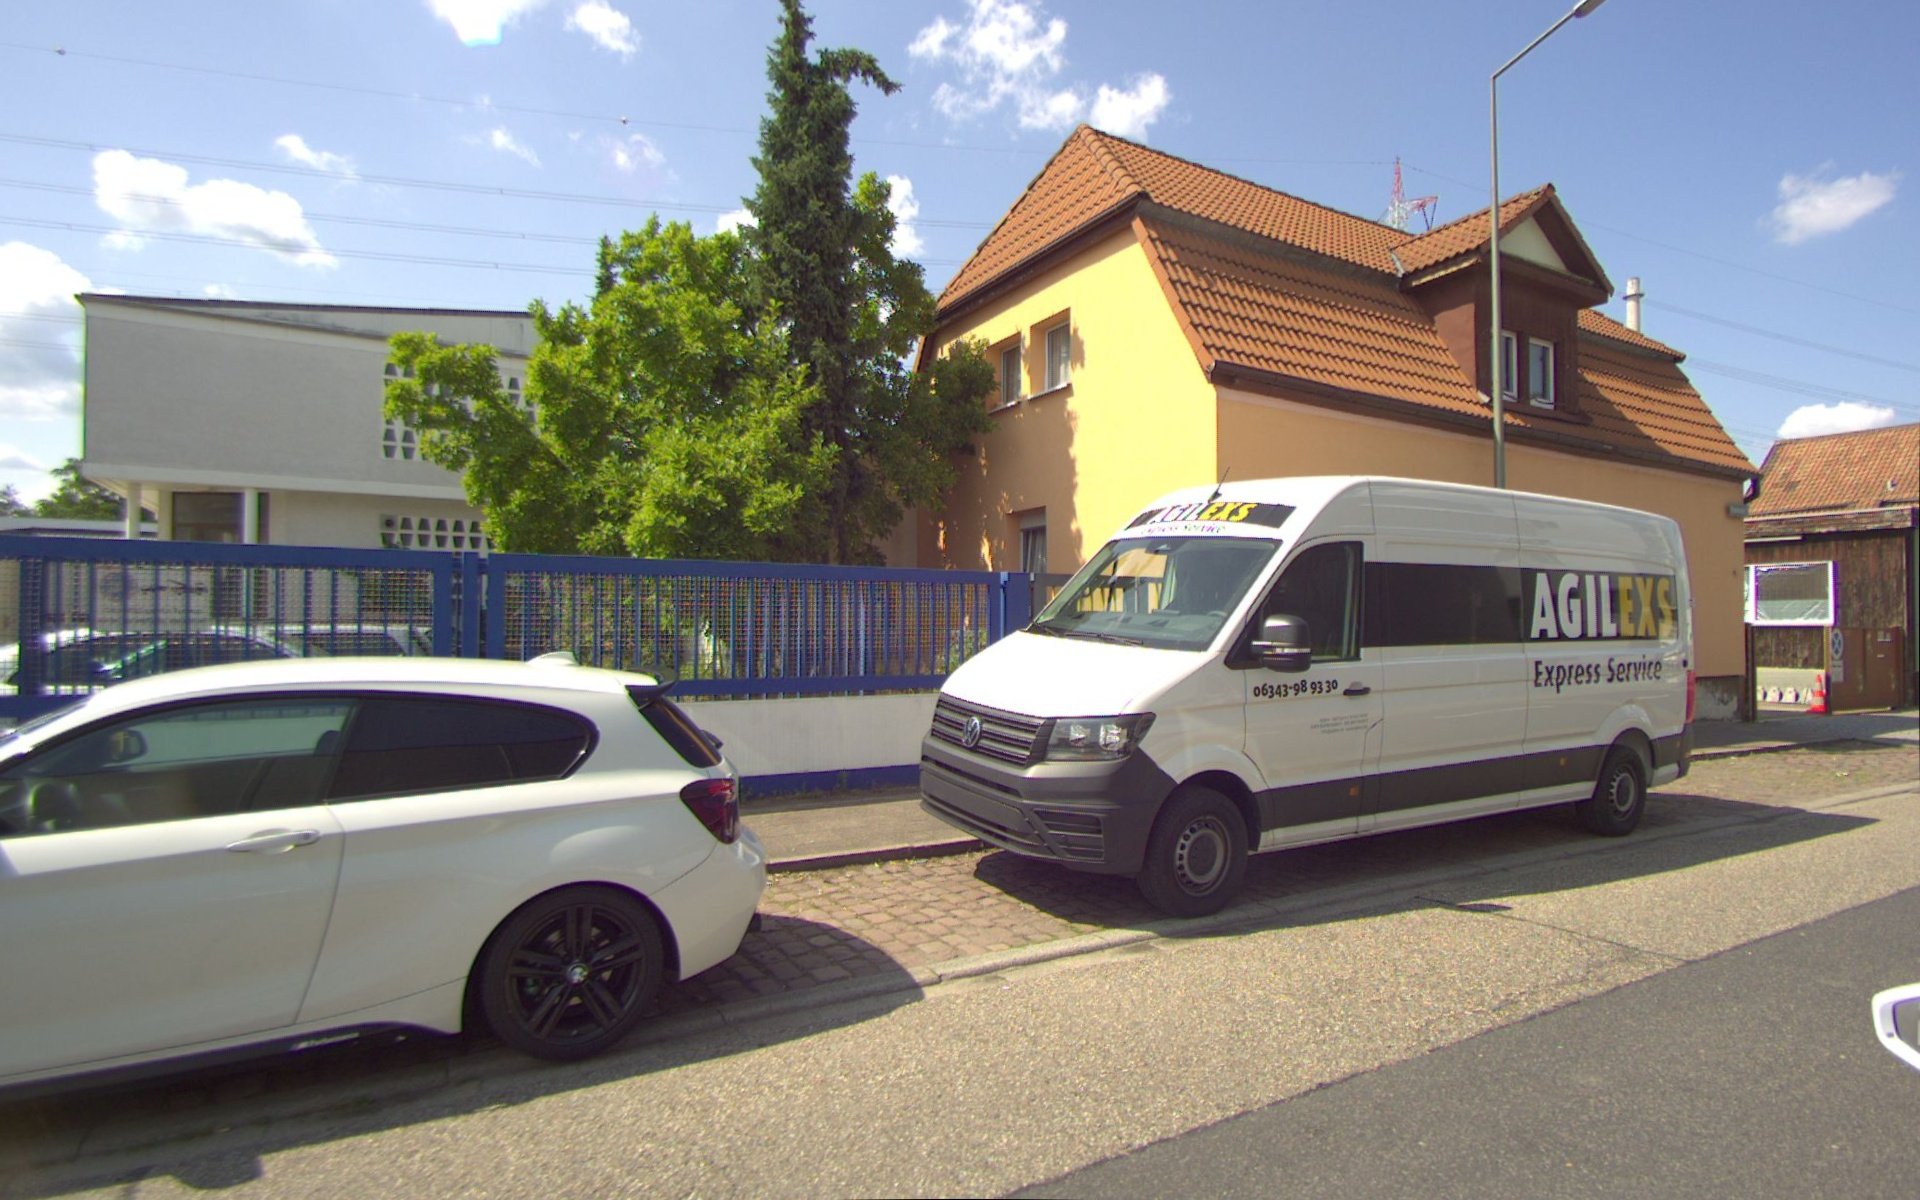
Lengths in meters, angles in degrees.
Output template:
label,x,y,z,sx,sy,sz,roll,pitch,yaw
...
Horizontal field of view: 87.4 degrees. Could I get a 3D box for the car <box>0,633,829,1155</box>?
label,x,y,z,sx,sy,sz,roll,pitch,yaw
car,-2.907,0.869,3.765,4.447,1.416,1.788,2,0,-29

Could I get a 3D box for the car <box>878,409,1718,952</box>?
label,x,y,z,sx,sy,sz,roll,pitch,yaw
car,2.884,0.475,7.448,6.763,2.595,2.016,2,0,-32

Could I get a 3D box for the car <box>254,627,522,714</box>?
label,x,y,z,sx,sy,sz,roll,pitch,yaw
car,-10.117,1.216,18.012,3.953,1.335,1.837,2,0,-30

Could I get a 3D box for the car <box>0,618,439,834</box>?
label,x,y,z,sx,sy,sz,roll,pitch,yaw
car,-6.509,0.926,8.101,4.091,1.482,1.859,0,-3,-28

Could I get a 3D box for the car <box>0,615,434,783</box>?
label,x,y,z,sx,sy,sz,roll,pitch,yaw
car,-8.058,0.954,10.725,4.255,1.487,1.793,-1,-1,-27

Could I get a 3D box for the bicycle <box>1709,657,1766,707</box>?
label,x,y,z,sx,sy,sz,roll,pitch,yaw
bicycle,17.684,1.848,22.831,1.956,0.968,0.623,-1,1,-40
